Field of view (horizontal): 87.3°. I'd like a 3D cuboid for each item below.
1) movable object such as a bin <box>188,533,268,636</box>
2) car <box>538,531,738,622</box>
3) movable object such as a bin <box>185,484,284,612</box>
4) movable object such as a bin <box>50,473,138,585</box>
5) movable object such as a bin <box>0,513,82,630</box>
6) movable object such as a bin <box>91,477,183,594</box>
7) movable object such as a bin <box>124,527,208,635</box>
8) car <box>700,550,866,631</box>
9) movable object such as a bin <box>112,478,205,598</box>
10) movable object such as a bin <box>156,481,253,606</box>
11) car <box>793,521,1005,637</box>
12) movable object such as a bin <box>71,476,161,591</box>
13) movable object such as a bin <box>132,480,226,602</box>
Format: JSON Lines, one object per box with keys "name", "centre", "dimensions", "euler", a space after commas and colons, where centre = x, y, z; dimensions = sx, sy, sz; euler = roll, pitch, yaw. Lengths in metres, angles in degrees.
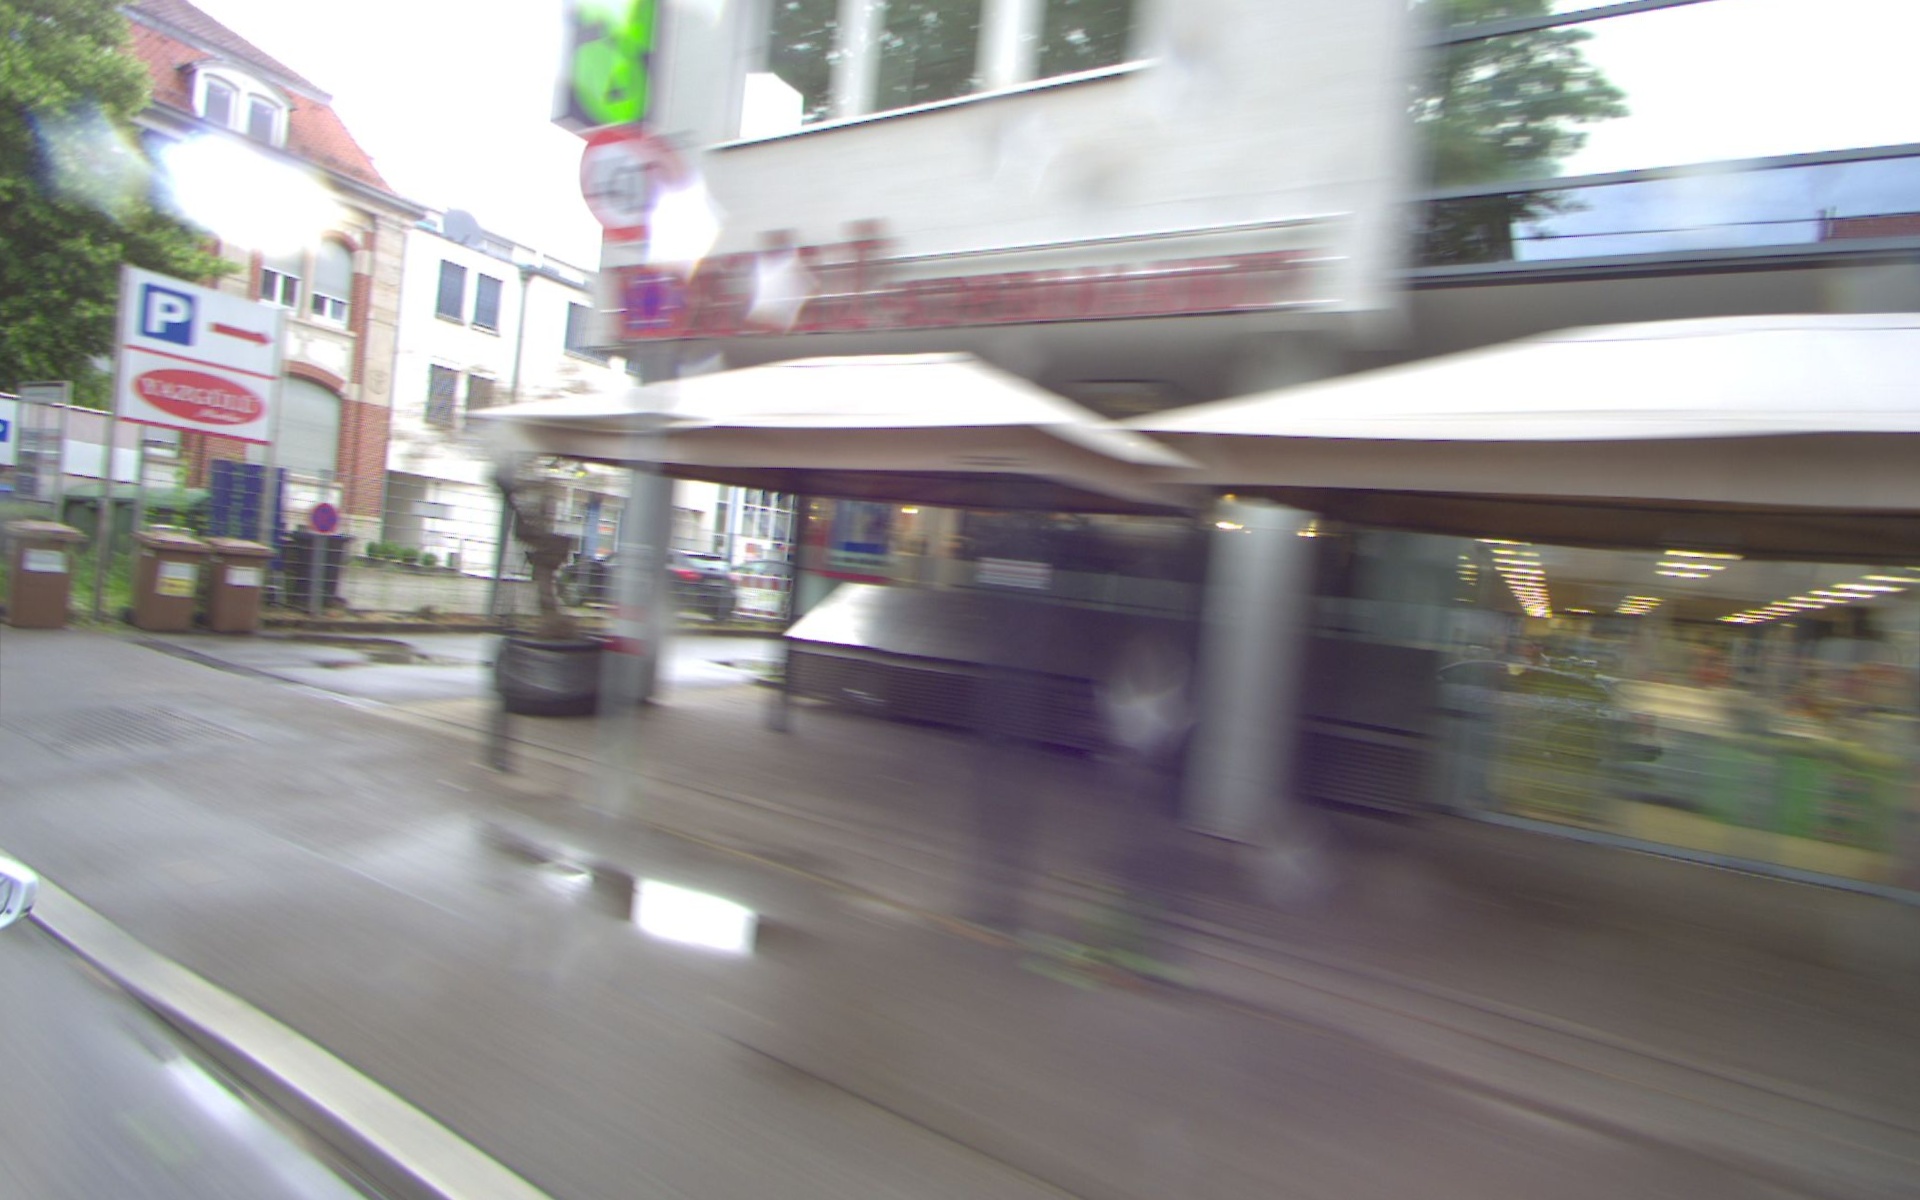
{"name": "movable object such as a bin", "centre": [-8.637, -0.180, 11.872], "dimensions": [0.608, 1.130, 0.505], "euler": [7, 2, 32]}
{"name": "car", "centre": [-6.768, -0.503, 21.004], "dimensions": [4.065, 1.505, 1.664], "euler": [6, 1, 32]}
{"name": "movable object such as a bin", "centre": [-9.251, -0.651, 12.839], "dimensions": [0.614, 1.528, 0.737], "euler": [7, 2, 28]}
{"name": "movable object such as a bin", "centre": [-12.623, -1.029, 14.671], "dimensions": [0.614, 1.521, 0.737], "euler": [7, 2, 28]}
{"name": "movable object such as a bin", "centre": [-9.551, -0.291, 10.388], "dimensions": [0.608, 1.130, 0.505], "euler": [7, 2, 32]}
{"name": "movable object such as a bin", "centre": [-11.508, -0.887, 14.070], "dimensions": [0.614, 1.528, 0.738], "euler": [7, 2, 28]}
{"name": "movable object such as a bin", "centre": [-8.912, -0.206, 11.291], "dimensions": [0.552, 1.130, 0.531], "euler": [7, 2, 34]}
{"name": "car", "centre": [-4.209, -0.218, 23.996], "dimensions": [3.453, 1.505, 1.521], "euler": [7, 2, 17]}
{"name": "movable object such as a bin", "centre": [-10.963, -0.834, 13.763], "dimensions": [0.614, 1.528, 0.737], "euler": [7, 2, 28]}
{"name": "movable object such as a bin", "centre": [-9.852, -0.726, 13.126], "dimensions": [0.614, 1.528, 0.737], "euler": [7, 2, 28]}
{"name": "car", "centre": [-1.839, -0.591, 31.266], "dimensions": [6.084, 2.732, 2.140], "euler": [7, -1, 0]}
{"name": "movable object such as a bin", "centre": [-12.059, -0.939, 14.381], "dimensions": [0.614, 1.528, 0.737], "euler": [7, 2, 28]}
{"name": "movable object such as a bin", "centre": [-10.428, -0.778, 13.436], "dimensions": [0.614, 1.528, 0.737], "euler": [7, 3, 28]}
